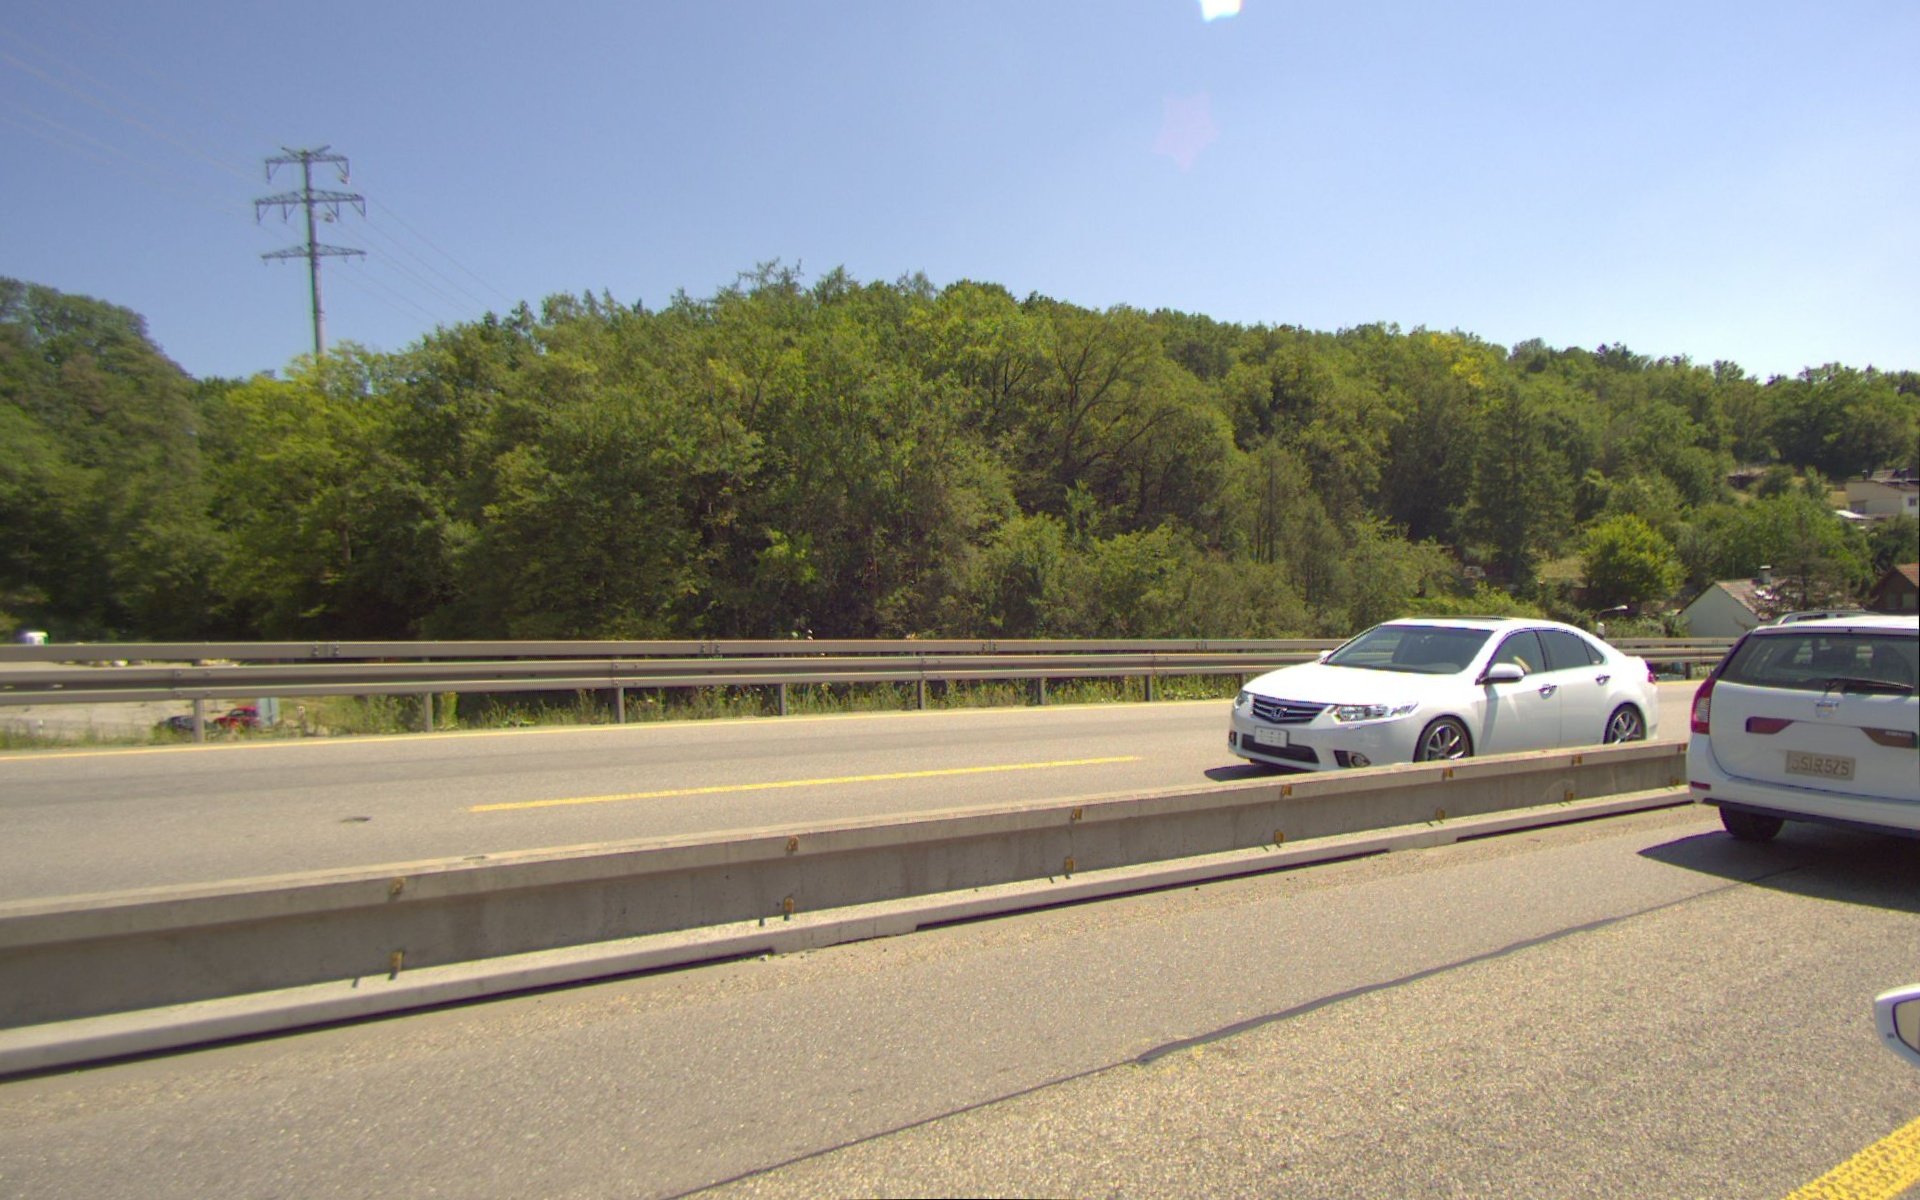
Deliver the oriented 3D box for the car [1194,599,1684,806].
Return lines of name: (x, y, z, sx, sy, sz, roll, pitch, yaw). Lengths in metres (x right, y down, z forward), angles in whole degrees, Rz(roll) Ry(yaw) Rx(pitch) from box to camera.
car: (4.512, 0.795, 9.340, 4.423, 1.506, 1.903, 1, 1, -29)

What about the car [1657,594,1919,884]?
car: (6.607, 0.788, 6.625, 4.215, 1.503, 1.644, 2, -2, -29)
